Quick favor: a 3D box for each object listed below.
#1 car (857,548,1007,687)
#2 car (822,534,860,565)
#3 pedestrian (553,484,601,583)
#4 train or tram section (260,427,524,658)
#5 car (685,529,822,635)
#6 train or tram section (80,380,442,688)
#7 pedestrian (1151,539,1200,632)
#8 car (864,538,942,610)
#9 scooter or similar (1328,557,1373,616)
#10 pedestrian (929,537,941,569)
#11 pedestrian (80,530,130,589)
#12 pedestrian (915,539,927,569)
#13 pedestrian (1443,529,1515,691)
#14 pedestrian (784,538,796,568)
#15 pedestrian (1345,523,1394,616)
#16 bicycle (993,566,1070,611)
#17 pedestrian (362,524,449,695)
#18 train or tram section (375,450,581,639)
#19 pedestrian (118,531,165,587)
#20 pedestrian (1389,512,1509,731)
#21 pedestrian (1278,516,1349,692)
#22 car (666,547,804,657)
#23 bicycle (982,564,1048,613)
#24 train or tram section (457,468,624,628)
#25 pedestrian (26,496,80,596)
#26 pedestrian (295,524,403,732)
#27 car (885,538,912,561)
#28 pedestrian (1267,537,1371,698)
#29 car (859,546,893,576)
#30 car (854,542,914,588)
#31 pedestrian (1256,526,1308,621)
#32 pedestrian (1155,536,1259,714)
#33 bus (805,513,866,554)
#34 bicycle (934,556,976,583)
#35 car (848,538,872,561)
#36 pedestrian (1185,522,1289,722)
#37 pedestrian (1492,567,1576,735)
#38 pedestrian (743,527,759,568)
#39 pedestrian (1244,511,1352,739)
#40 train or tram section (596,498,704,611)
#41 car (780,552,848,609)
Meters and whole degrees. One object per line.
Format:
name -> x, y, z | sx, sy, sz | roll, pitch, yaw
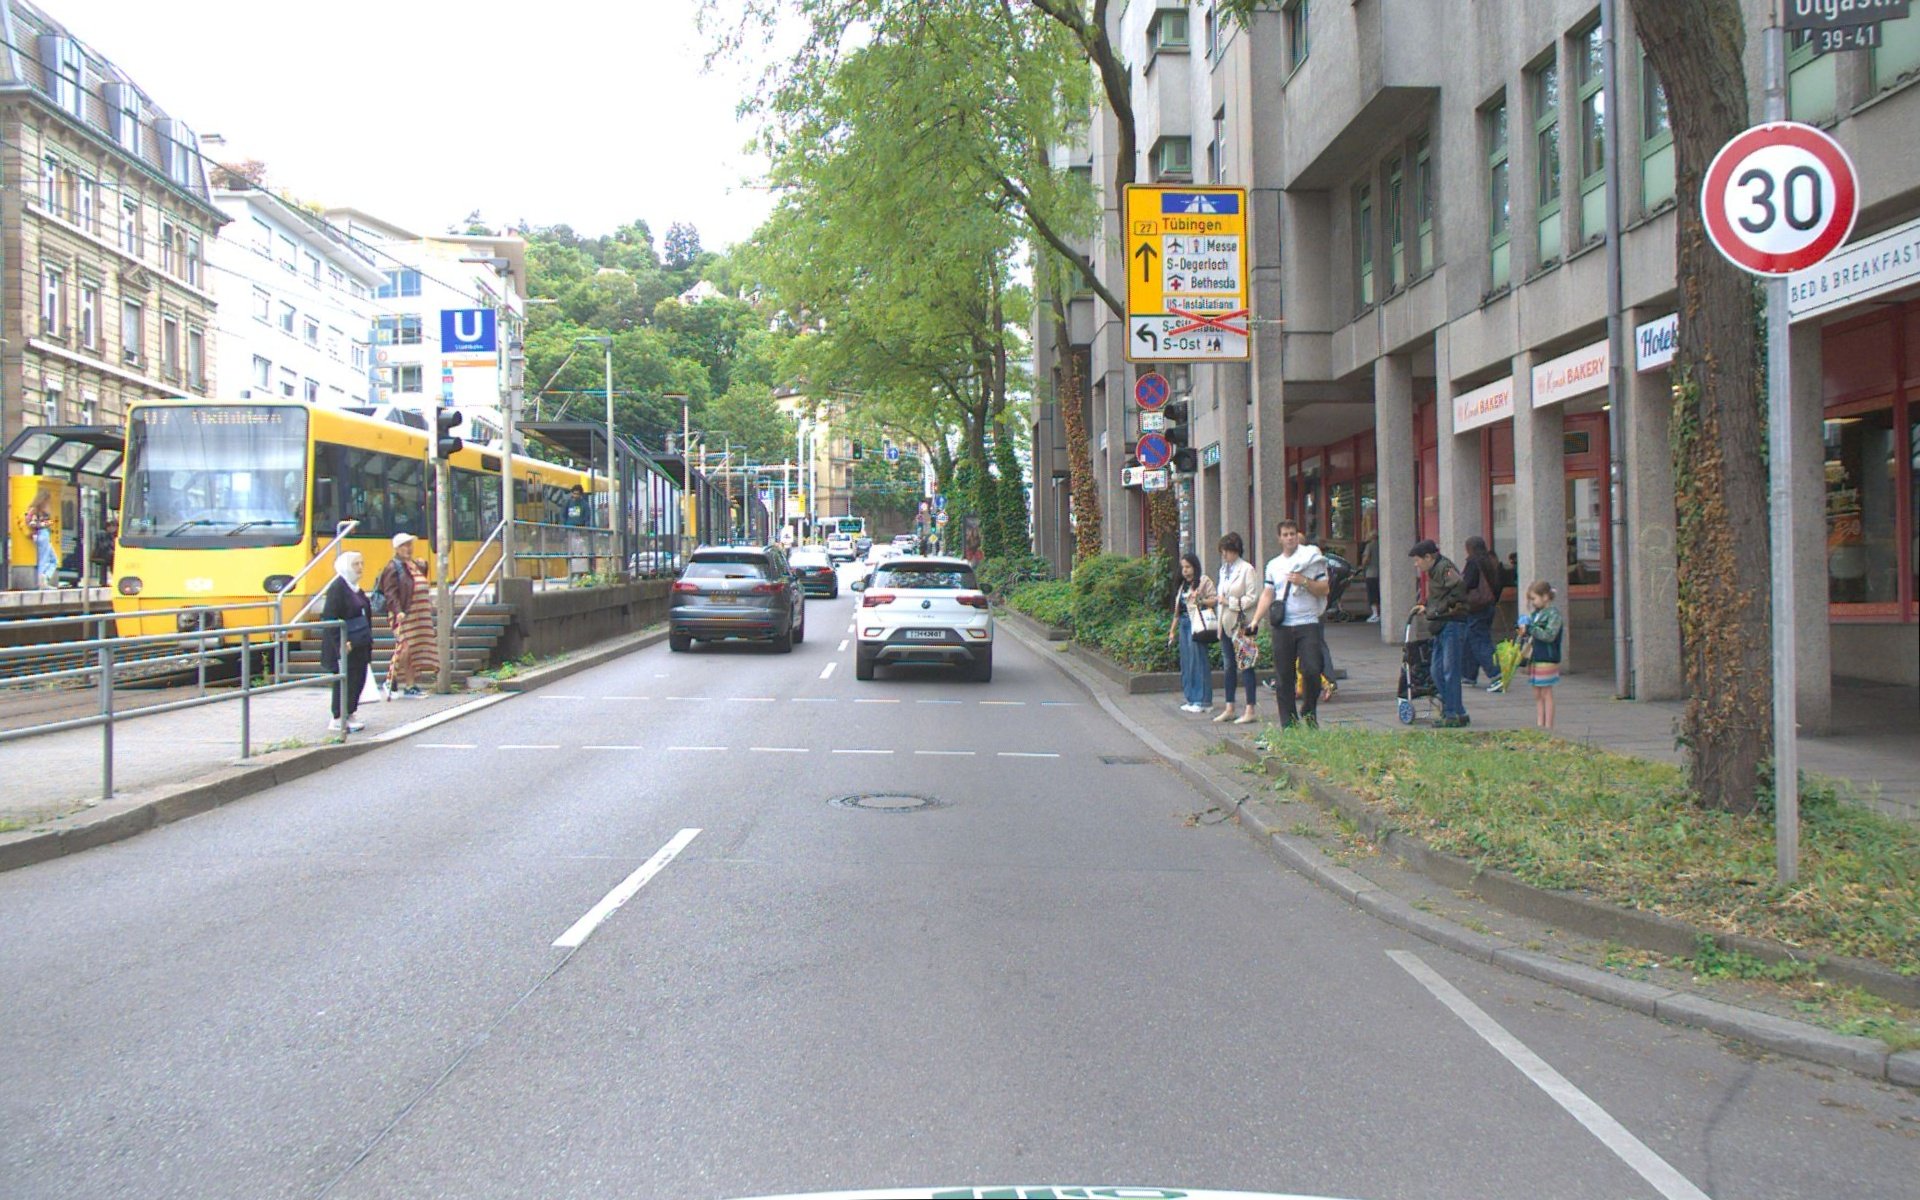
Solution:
car -> -0.471, 0.154, 22.290 | 1.801, 1.611, 4.155 | 1, 2, -4
car -> -8.546, -3.609, 119.233 | 2.316, 2.049, 5.148 | 1, 0, 0
pedestrian -> -6.967, -1.196, 30.112 | 0.703, 1.761, 0.670 | 1, 0, -2
train or tram section -> -9.704, -0.958, 28.937 | 2.778, 3.582, 5.750 | 1, 1, -2
car -> -4.280, -0.366, 35.126 | 2.316, 2.049, 5.147 | 1, 0, -1
train or tram section -> -9.475, -0.858, 23.177 | 2.778, 3.743, 5.750 | 1, 1, -2
pedestrian -> 4.347, -0.310, 33.373 | 0.748, 1.813, 0.847 | -2, 3, -8
car -> -1.486, -0.630, 42.072 | 1.847, 1.713, 4.158 | 1, 0, -3
scooter or similar -> 7.780, -0.263, 32.986 | 0.837, 1.129, 0.765 | -2, 0, 13
pedestrian -> -1.618, -3.074, 107.643 | 0.746, 2.049, 0.838 | 1, 0, 2
pedestrian -> -16.568, -0.786, 32.051 | 0.622, 1.127, 0.690 | 0, 1, -3
pedestrian -> -2.671, -3.145, 113.738 | 0.746, 2.049, 0.838 | 1, 0, 2
pedestrian -> 5.443, 0.088, 17.371 | 0.603, 1.640, 0.765 | -1, 3, 9
pedestrian -> -11.771, -3.230, 114.313 | 0.746, 2.049, 0.838 | 1, 0, -2
pedestrian -> 7.914, -0.596, 31.989 | 0.746, 1.753, 0.677 | -2, 1, -1
bicycle -> 1.853, -0.300, 42.833 | 1.879, 1.095, 0.612 | -3, 1, -6
pedestrian -> -5.761, 0.084, 17.208 | 0.672, 1.741, 0.711 | 0, 1, -3
train or tram section -> -9.926, -1.120, 34.684 | 2.778, 3.582, 5.750 | 1, 1, -2
pedestrian -> -16.648, -0.843, 33.661 | 0.622, 1.127, 0.690 | 0, 1, -3
pedestrian -> 4.275, 0.162, 14.493 | 0.707, 1.834, 0.833 | -2, 3, -7
pedestrian -> 3.746, 0.044, 17.557 | 0.508, 1.820, 0.763 | 1, 0, -7
car -> -3.620, -0.028, 27.257 | 1.954, 1.664, 3.998 | 0, 2, -4
bicycle -> 1.377, -0.291, 41.587 | 1.587, 1.147, 0.613 | -2, 1, 1
train or tram section -> -10.125, -1.240, 40.461 | 2.778, 3.582, 5.750 | 1, 1, -2
pedestrian -> -15.938, -0.949, 29.074 | 0.624, 1.741, 0.688 | 0, 1, -12
pedestrian -> -5.260, 0.223, 14.273 | 0.622, 1.741, 0.871 | 0, 1, -3
car -> -5.086, -4.139, 135.851 | 1.849, 1.713, 4.154 | 1, 0, -7
pedestrian -> 3.644, 0.179, 16.819 | 0.820, 1.590, 0.763 | 1, 0, -7
car -> -5.096, -2.340, 100.378 | 1.846, 1.713, 4.161 | 1, 0, -1
car -> -3.016, -1.352, 64.810 | 1.850, 1.713, 4.152 | 1, 0, -9
pedestrian -> 6.381, -0.531, 32.823 | 0.815, 1.834, 0.723 | -2, 1, -3
pedestrian -> 2.509, 0.240, 16.863 | 0.820, 1.733, 0.763 | -2, 1, -7
bus -> -11.360, -5.923, 149.404 | 3.315, 3.118, 13.275 | 1, 0, -14
bicycle -> -0.224, -1.387, 74.990 | 1.841, 1.157, 0.808 | 1, 0, 3
car -> -8.003, -4.055, 133.059 | 1.847, 1.713, 4.159 | 1, 0, -2
pedestrian -> 2.625, 0.201, 15.733 | 0.680, 1.808, 0.688 | -5, 1, -7
pedestrian -> 4.743, 0.414, 13.677 | 0.462, 1.357, 0.519 | 1, 0, -7
pedestrian -> -10.671, -2.667, 84.529 | 0.748, 2.049, 0.836 | 1, 0, -10
pedestrian -> 2.892, 0.206, 14.211 | 0.720, 1.907, 0.732 | 0, 0, -7
train or tram section -> -10.826, -1.585, 58.370 | 2.756, 3.730, 6.749 | 1, 1, -2
car -> -4.682, -0.672, 53.624 | 1.873, 1.718, 4.000 | 1, 2, -1
